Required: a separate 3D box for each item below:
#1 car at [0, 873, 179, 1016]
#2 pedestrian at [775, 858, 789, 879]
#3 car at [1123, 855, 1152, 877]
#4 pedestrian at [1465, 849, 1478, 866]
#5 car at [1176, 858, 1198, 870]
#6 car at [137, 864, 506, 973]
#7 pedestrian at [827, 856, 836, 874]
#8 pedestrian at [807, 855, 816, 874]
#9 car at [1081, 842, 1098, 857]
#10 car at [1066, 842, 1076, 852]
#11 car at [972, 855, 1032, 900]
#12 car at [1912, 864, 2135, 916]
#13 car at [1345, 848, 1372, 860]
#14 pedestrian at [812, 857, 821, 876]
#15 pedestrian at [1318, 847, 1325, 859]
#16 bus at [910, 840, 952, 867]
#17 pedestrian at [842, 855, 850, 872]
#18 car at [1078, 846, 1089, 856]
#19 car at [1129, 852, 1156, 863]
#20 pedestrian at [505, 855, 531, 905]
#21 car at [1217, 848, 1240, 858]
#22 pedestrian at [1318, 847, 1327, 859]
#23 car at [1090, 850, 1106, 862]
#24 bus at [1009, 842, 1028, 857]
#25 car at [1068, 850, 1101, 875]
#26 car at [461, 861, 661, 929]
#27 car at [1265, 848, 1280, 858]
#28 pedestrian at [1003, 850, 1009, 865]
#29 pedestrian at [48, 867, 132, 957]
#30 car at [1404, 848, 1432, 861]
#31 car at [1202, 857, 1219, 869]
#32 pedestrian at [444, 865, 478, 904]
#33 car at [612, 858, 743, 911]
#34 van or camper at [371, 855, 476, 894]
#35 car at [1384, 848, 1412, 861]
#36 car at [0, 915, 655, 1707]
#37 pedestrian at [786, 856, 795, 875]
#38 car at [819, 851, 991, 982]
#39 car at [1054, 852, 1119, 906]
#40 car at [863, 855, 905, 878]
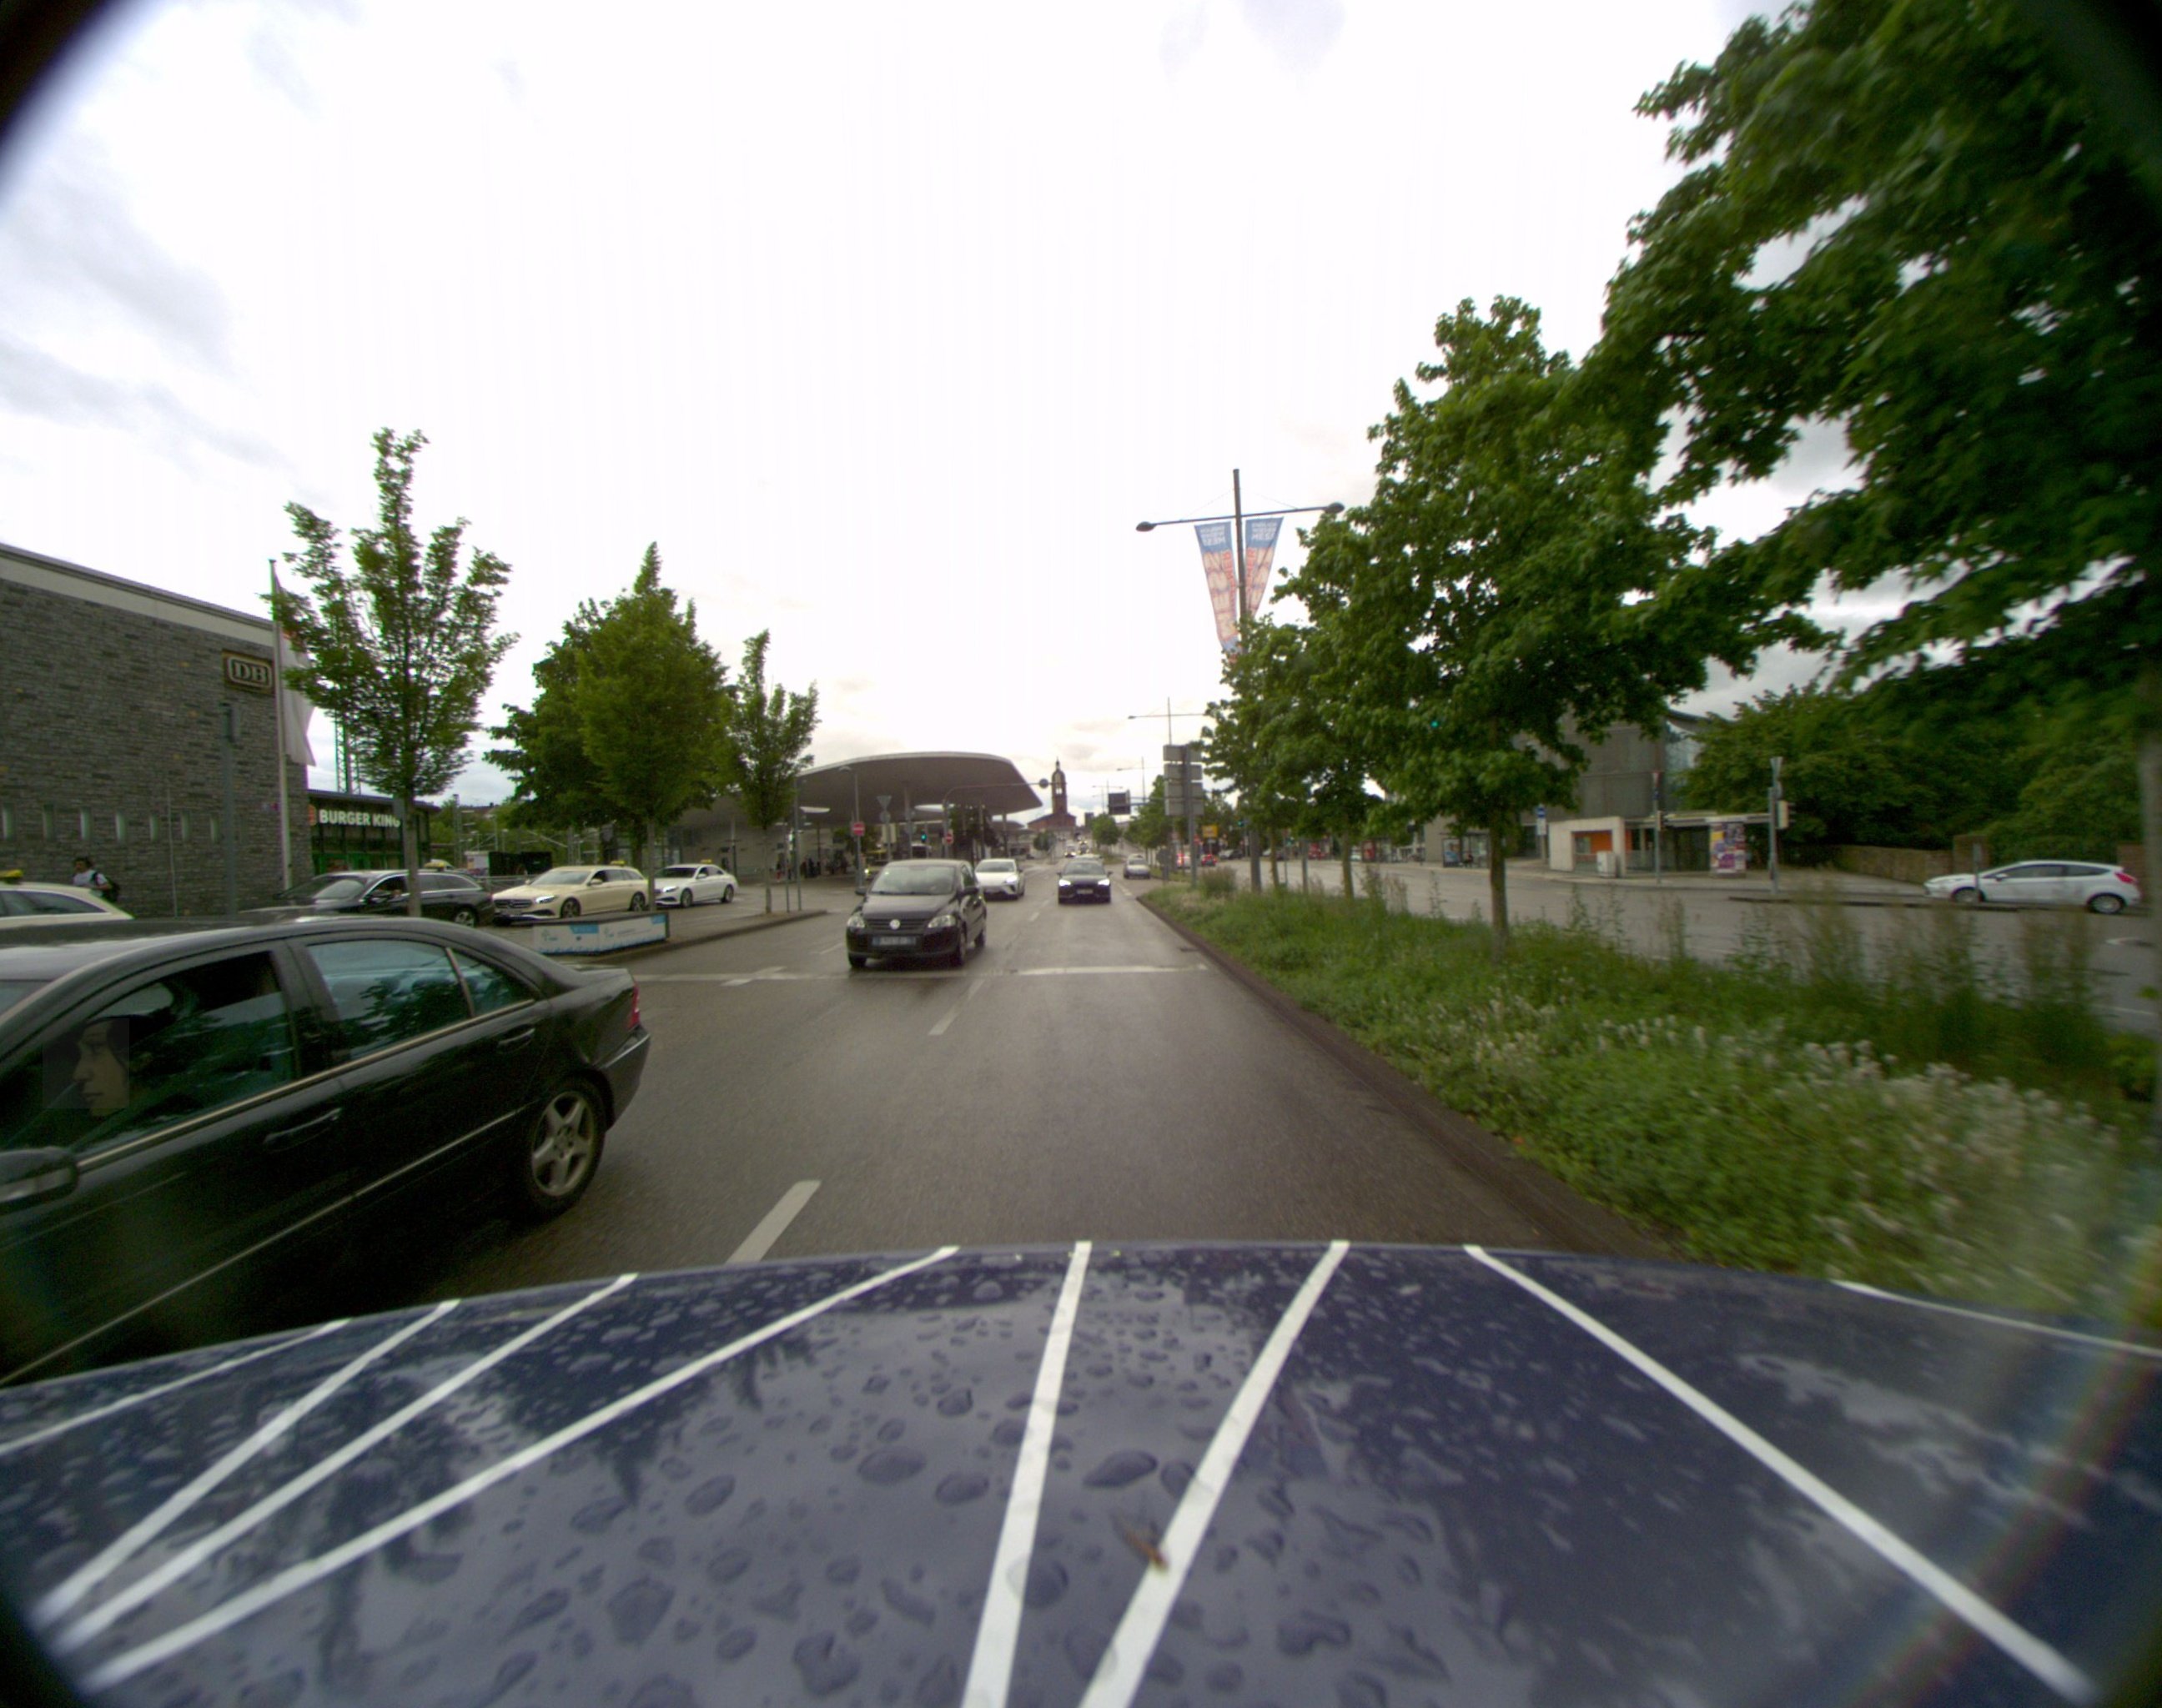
[{"bbox_3d":[-13.385,1.073,8.091,2.000,1.590,4.955,0,0,-7],"label":"car"},{"bbox_3d":[-23.263,1.116,59.136,0.641,1.586,0.741,0,1,15],"label":"pedestrian"},{"bbox_3d":[3.964,0.826,53.675,1.699,1.457,3.719,0,1,-1],"label":"car"},{"bbox_3d":[29.117,0.258,56.639,0.668,1.292,0.720,0,1,6],"label":"pedestrian"},{"bbox_3d":[12.187,1.138,87.642,2.010,1.345,4.164,0,1,1],"label":"car"},{"bbox_3d":[-13.851,1.053,14.460,1.999,1.590,4.958,-2,0,0],"label":"car"},{"bbox_3d":[-21.404,0.930,65.159,0.478,1.505,0.535,-1,1,4],"label":"pedestrian"},{"bbox_3d":[-21.583,0.827,60.792,0.534,1.505,0.479,-1,1,5],"label":"pedestrian"},{"bbox_3d":[0.916,-0.501,86.740,1.875,1.624,4.156,0,1,0],"label":"car"},{"bbox_3d":[-1.927,-1.387,149.797,1.999,2.002,3.999,0,1,-1],"label":"car"},{"bbox_3d":[-2.947,0.843,29.070,1.811,1.550,4.049,0,1,1],"label":"car"},{"bbox_3d":[27.812,1.061,22.664,3.989,1.389,1.638,-3,-1,45],"label":"car"},{"bbox_3d":[38.642,0.010,105.796,4.166,1.692,1.871,-1,1,-44],"label":"car"},{"bbox_3d":[-20.885,0.958,60.021,0.534,1.505,0.479,-1,1,5],"label":"pedestrian"},{"bbox_3d":[30.475,-0.139,96.459,0.732,1.481,0.735,0,1,9],"label":"pedestrian"},{"bbox_3d":[-19.034,0.014,97.129,2.876,3.063,11.925,0,-1,1],"label":"bus"},{"bbox_3d":[-21.394,0.886,69.103,0.478,1.505,0.535,-1,1,4],"label":"pedestrian"},{"bbox_3d":[0.498,-0.678,155.814,1.999,2.002,3.998,0,1,-5],"label":"car"},{"bbox_3d":[9.273,0.539,114.054,1.871,1.624,4.166,0,0,41],"label":"car"},{"bbox_3d":[-24.478,1.105,33.058,0.799,2.152,0.721,-1,1,-30],"label":"pedestrian"},{"bbox_3d":[24.252,-0.198,124.836,1.889,1.704,4.226,1,1,42],"label":"car"},{"bbox_3d":[30.338,-0.128,95.473,0.983,1.481,0.735,0,1,11],"label":"pedestrian"},{"bbox_3d":[2.241,0.238,100.488,1.875,1.624,4.286,0,1,5],"label":"car"},{"bbox_3d":[-13.823,-0.951,168.352,3.585,3.080,10.746,-1,0,-8],"label":"bus"},{"bbox_3d":[0.197,0.572,53.112,1.876,1.624,4.298,0,1,-6],"label":"car"},{"bbox_3d":[-13.927,1.004,20.827,1.998,1.590,4.958,0,0,1],"label":"car"},{"bbox_3d":[30.347,-0.128,120.283,1.680,1.503,3.864,0,1,4],"label":"car"},{"bbox_3d":[-9.033,0.426,91.523,0.446,1.754,0.536,-1,1,-22],"label":"pedestrian"},{"bbox_3d":[-19.043,1.086,14.621,0.647,1.657,0.776,-1,1,-21],"label":"pedestrian"},{"bbox_3d":[44.467,0.040,100.178,4.166,1.692,1.871,-1,1,-44],"label":"car"},{"bbox_3d":[16.192,1.112,95.291,1.698,1.457,4.452,0,1,4],"label":"car"},{"bbox_3d":[-25.441,1.246,31.190,0.770,1.571,0.710,0,1,-3],"label":"pedestrian"},{"bbox_3d":[-13.875,0.969,26.533,1.884,1.590,4.902,0,1,1],"label":"car"},{"bbox_3d":[-44.640,1.329,51.836,1.998,2.419,5.863,0,1,1],"label":"van or camper"},{"bbox_3d":[42.476,0.048,101.772,4.166,1.692,1.871,-1,1,-44],"label":"car"},{"bbox_3d":[-3.095,1.084,1.887,1.699,1.457,4.450,0,1,-2],"label":"car"},{"bbox_3d":[-23.467,0.912,61.419,0.533,1.505,0.480,0,1,35],"label":"pedestrian"},{"bbox_3d":[-2.554,0.813,12.069,1.876,1.692,4.156,0,1,-2],"label":"car"},{"bbox_3d":[0.111,0.815,26.356,1.876,1.692,4.156,0,0,-5],"label":"car"},{"bbox_3d":[-15.052,0.938,58.377,1.998,1.671,4.541,0,1,1],"label":"car"}]
